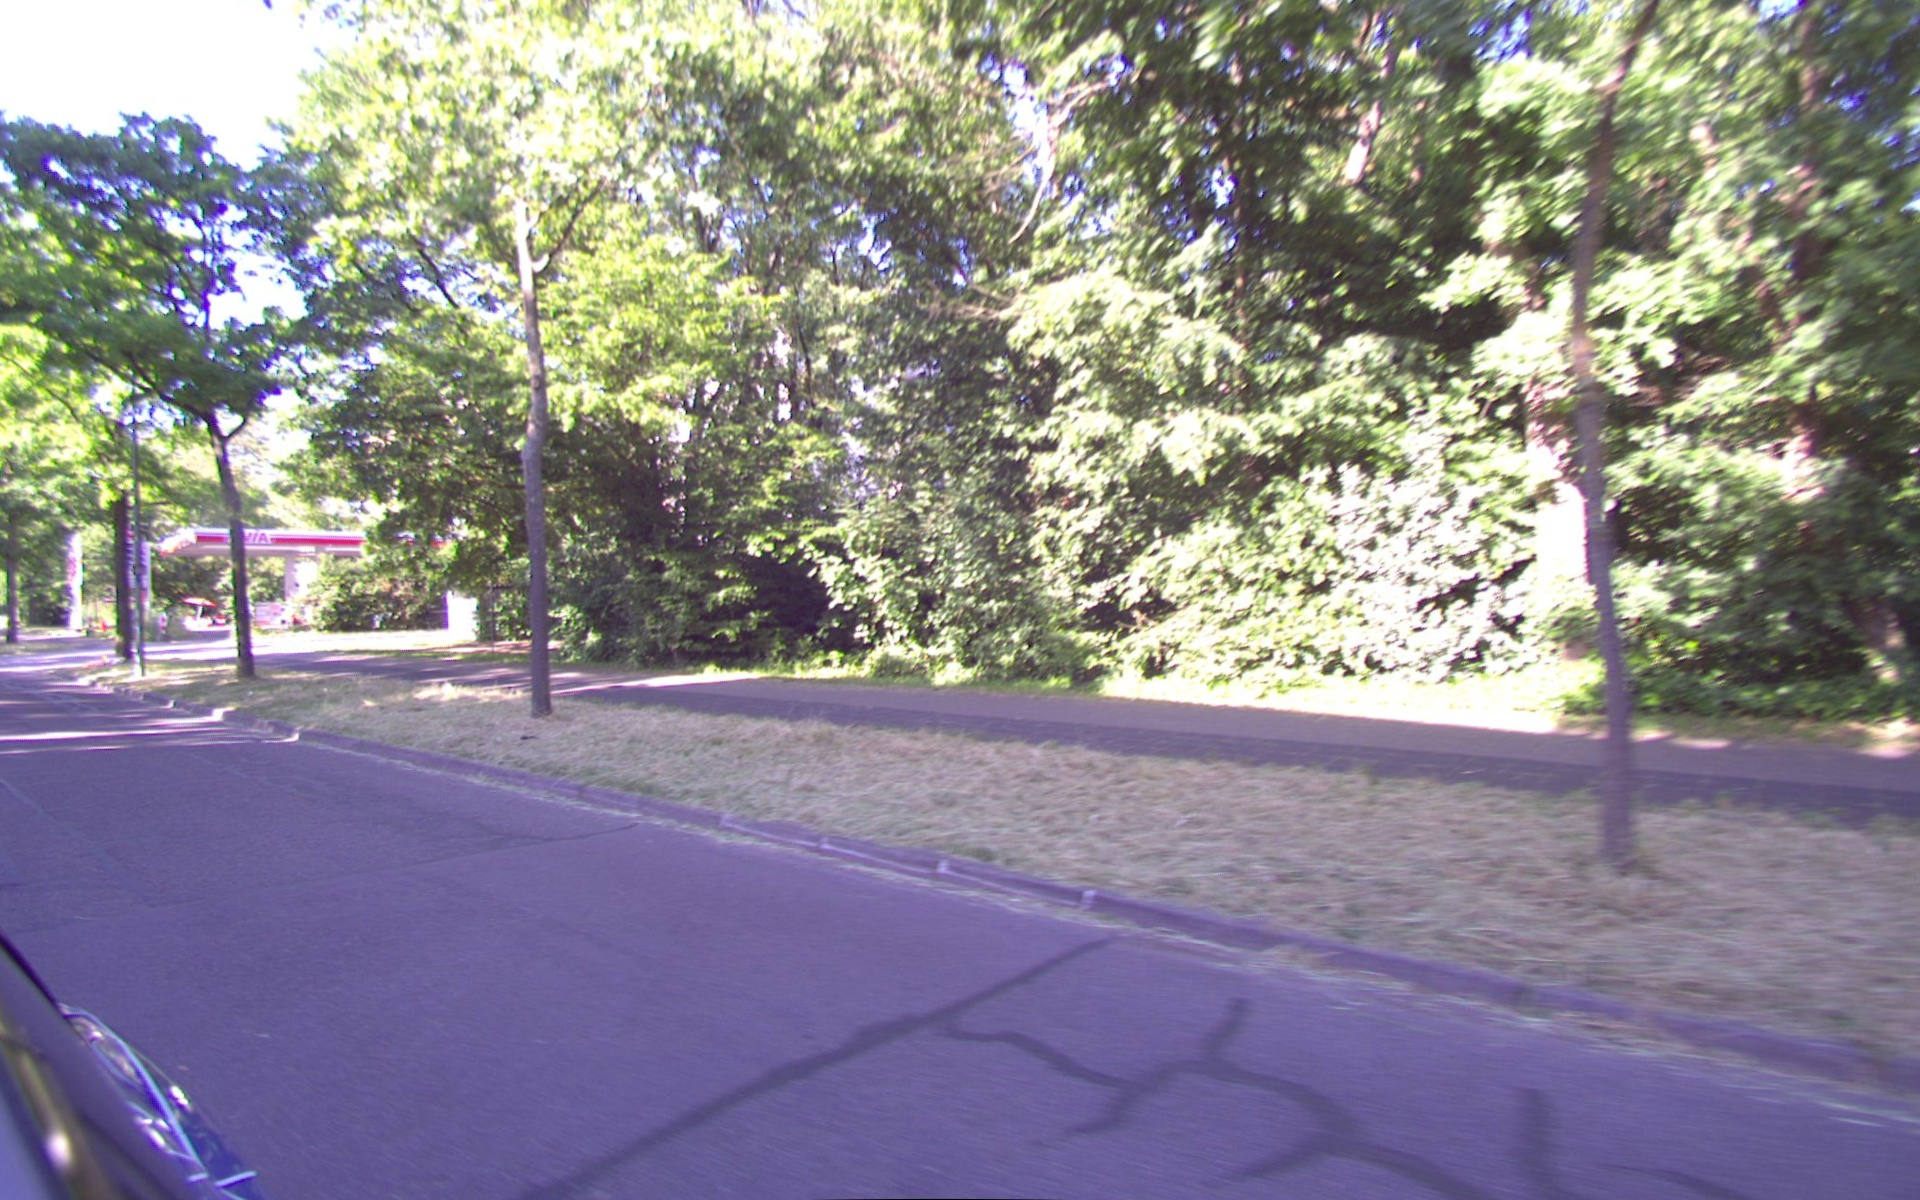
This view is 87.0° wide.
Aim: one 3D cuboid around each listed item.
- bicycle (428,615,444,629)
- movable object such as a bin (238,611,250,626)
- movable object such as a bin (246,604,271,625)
[{"bbox_3d":[-30.180,1.262,58.310,0.609,0.813,1.784,-1,0,-34],"label":"bicycle"},{"bbox_3d":[-53.476,1.359,75.578,0.768,1.094,0.562,-1,0,42],"label":"movable object such as a bin"},{"bbox_3d":[-52.832,1.116,76.242,1.267,1.553,1.290,-1,0,42],"label":"movable object such as a bin"}]
